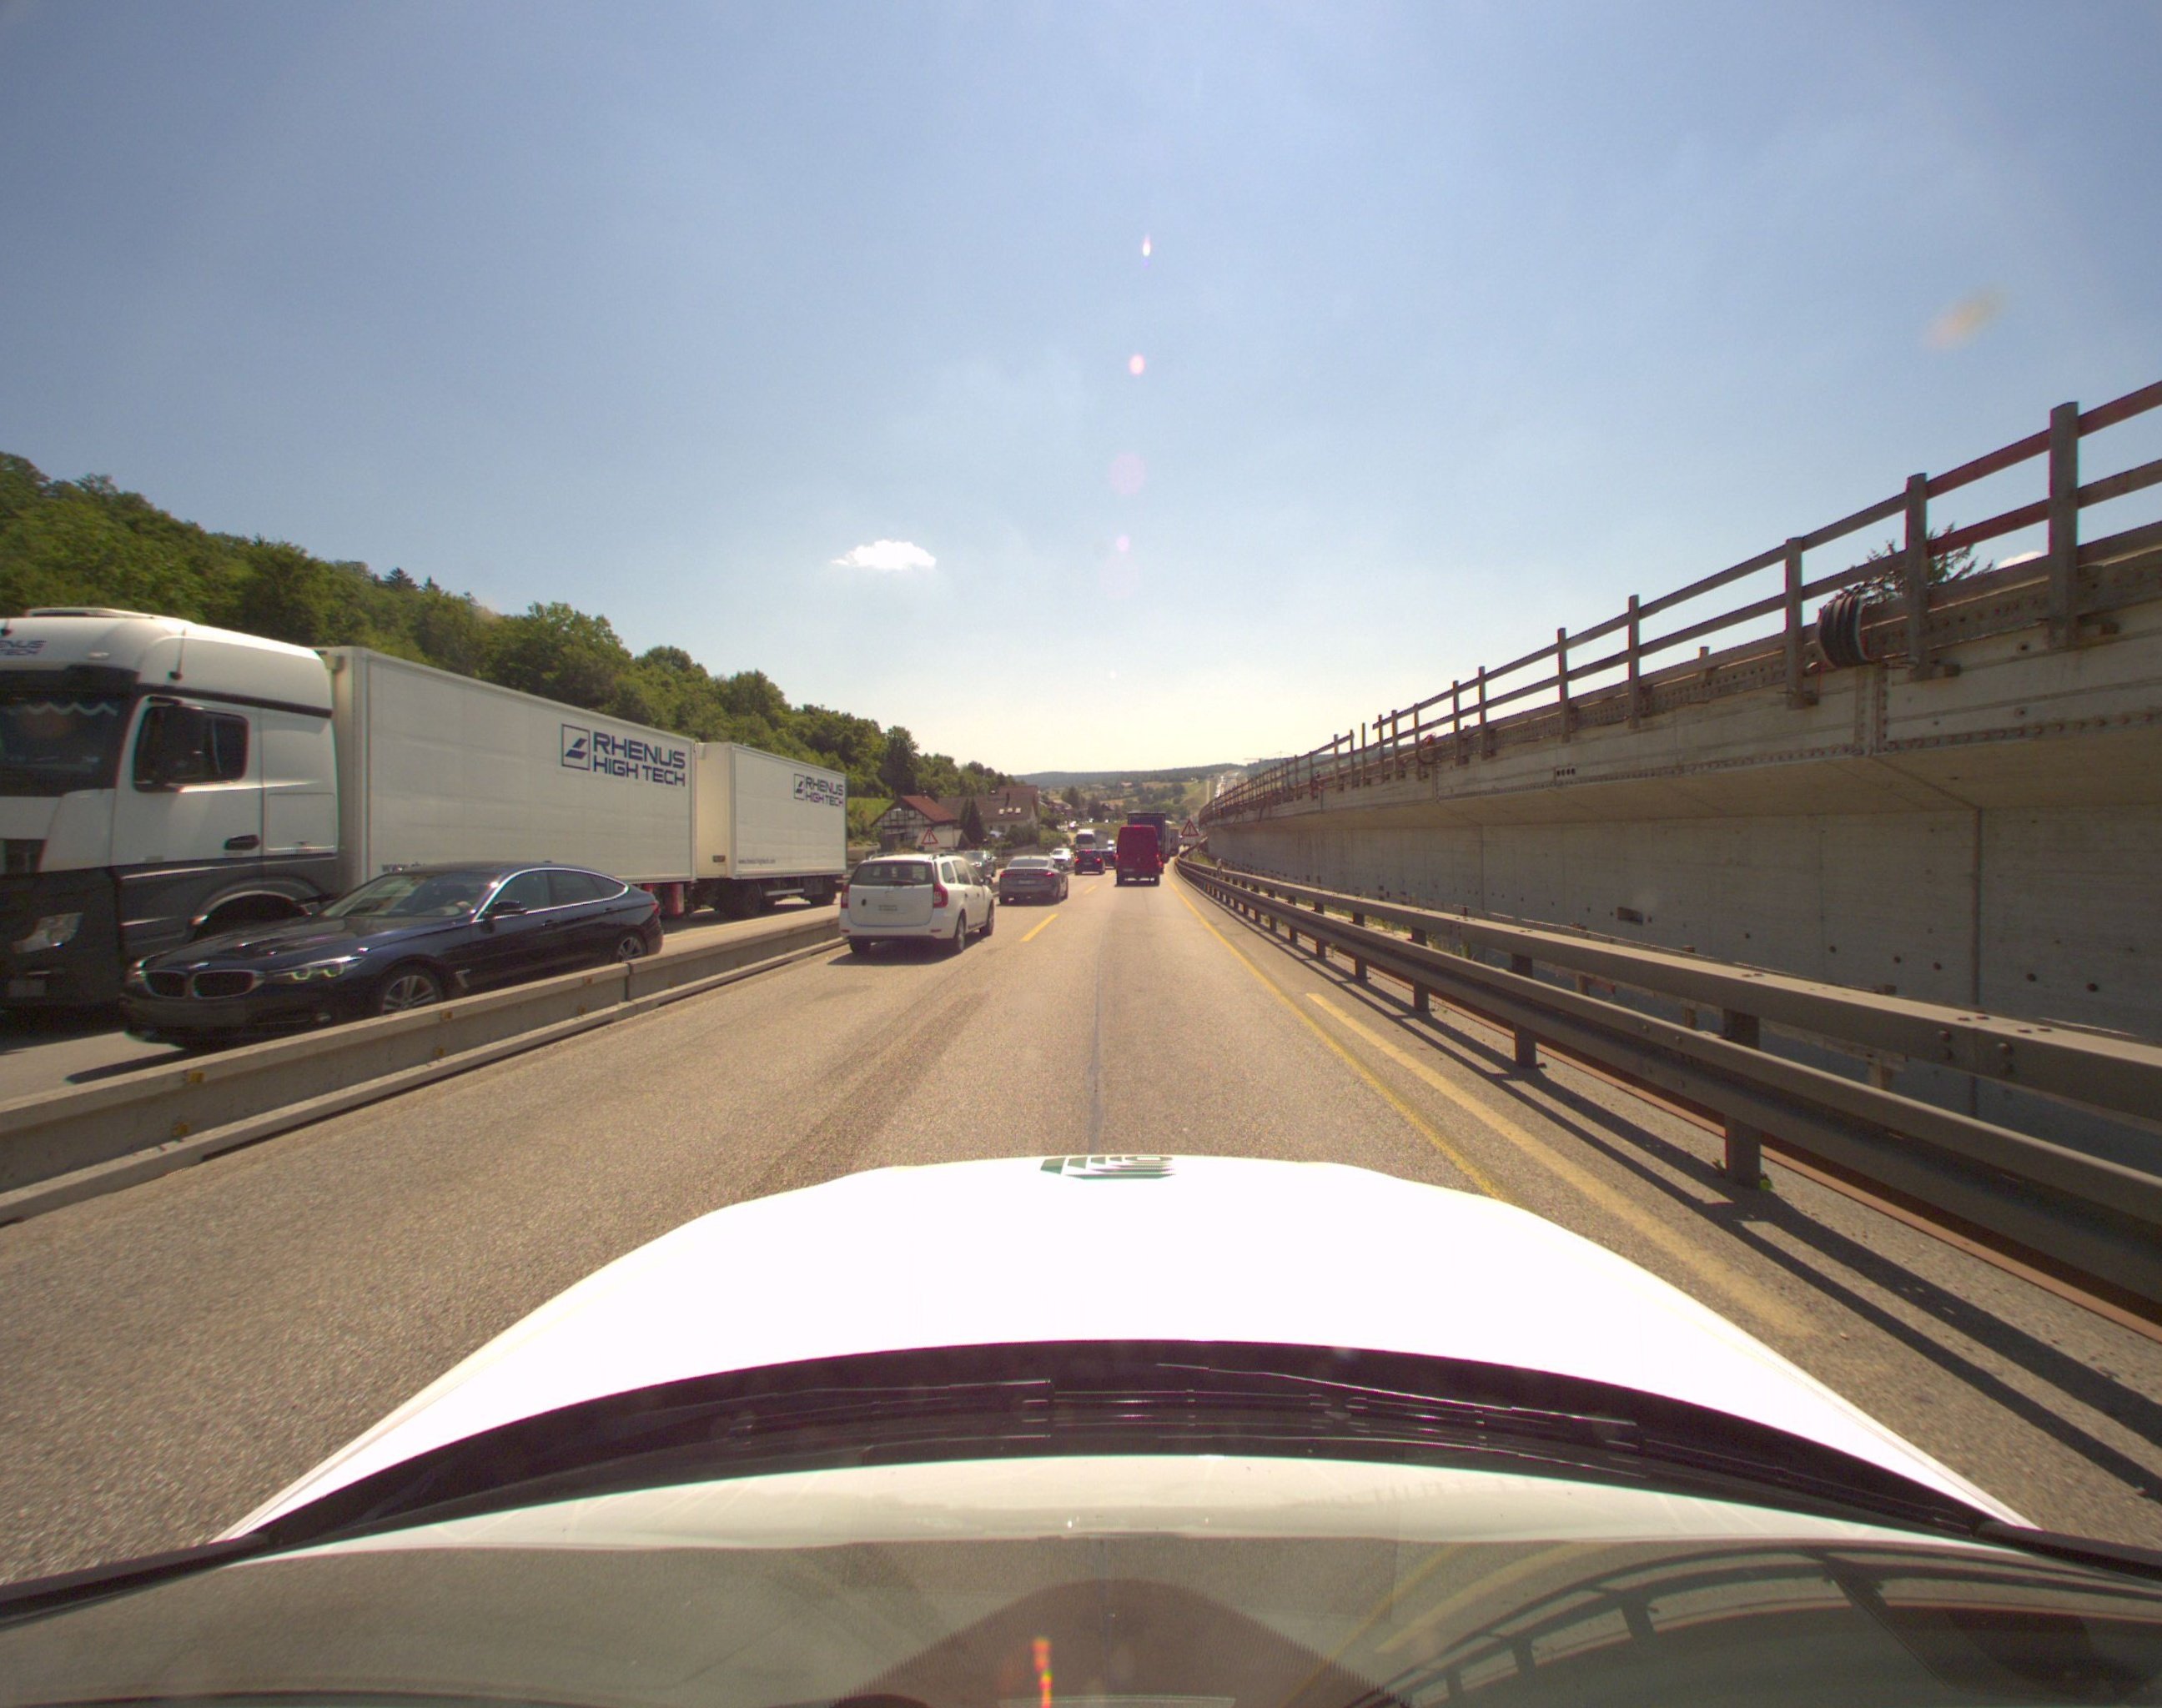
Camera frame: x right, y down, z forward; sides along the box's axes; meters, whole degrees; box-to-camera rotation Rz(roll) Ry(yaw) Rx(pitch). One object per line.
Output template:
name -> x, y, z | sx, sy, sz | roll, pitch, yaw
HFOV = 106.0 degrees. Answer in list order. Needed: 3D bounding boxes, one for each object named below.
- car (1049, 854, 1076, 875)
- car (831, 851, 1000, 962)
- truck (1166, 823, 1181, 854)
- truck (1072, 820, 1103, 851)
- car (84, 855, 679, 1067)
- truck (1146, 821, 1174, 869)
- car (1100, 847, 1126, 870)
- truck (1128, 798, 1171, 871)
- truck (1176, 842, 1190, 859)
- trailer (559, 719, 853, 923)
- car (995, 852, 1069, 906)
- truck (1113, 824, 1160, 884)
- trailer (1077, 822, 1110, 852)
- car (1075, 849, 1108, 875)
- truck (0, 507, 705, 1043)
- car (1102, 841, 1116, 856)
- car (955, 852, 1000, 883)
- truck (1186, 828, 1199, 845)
car -> -1.507, 0.901, 68.455 | 1.741, 1.687, 4.393 | -1, -1, 5
car -> -2.548, 0.762, 13.590 | 1.644, 1.483, 4.270 | -3, -1, 3
truck -> 13.551, -2.181, 119.079 | 1.984, 4.381, 4.005 | -1, -1, 5
truck -> 0.959, -2.433, 111.620 | 3.117, 4.079, 6.896 | -1, 0, 9
car -> -6.168, 0.772, 8.149 | 1.774, 1.479, 4.625 | -1, 0, 3
truck -> 8.444, -0.827, 87.655 | 2.773, 4.816, 9.698 | -1, -1, 5
car -> 2.606, 0.379, 65.703 | 1.720, 1.838, 4.007 | -1, -1, 7
truck -> 5.000, -1.247, 59.201 | 2.773, 4.816, 9.698 | -1, -1, 5
truck -> 26.595, -0.854, 211.152 | 3.050, 4.381, 8.581 | -1, -1, 10
trailer -> -9.053, -0.682, 21.383 | 2.990, 4.165, 9.026 | -1, 0, 4
car -> -1.417, 0.715, 25.142 | 1.787, 1.485, 4.053 | -1, 0, 3
truck -> 2.612, 0.018, 37.545 | 1.984, 2.579, 4.006 | -1, -1, 5
trailer -> 1.921, -2.434, 118.010 | 3.117, 4.079, 11.847 | -1, 0, 9
car -> 0.714, 0.526, 52.757 | 1.801, 1.608, 3.724 | -1, -1, 5
truck -> -9.574, -0.629, 11.633 | 2.966, 4.162, 10.553 | -1, 0, 3
car -> 4.846, -0.946, 141.224 | 1.995, 2.603, 5.989 | -1, 0, 6
car -> -6.255, 0.821, 49.709 | 1.898, 1.742, 4.665 | -1, -1, 3
truck -> 31.737, -4.938, 232.213 | 3.451, 4.381, 8.568 | -1, -1, 5
